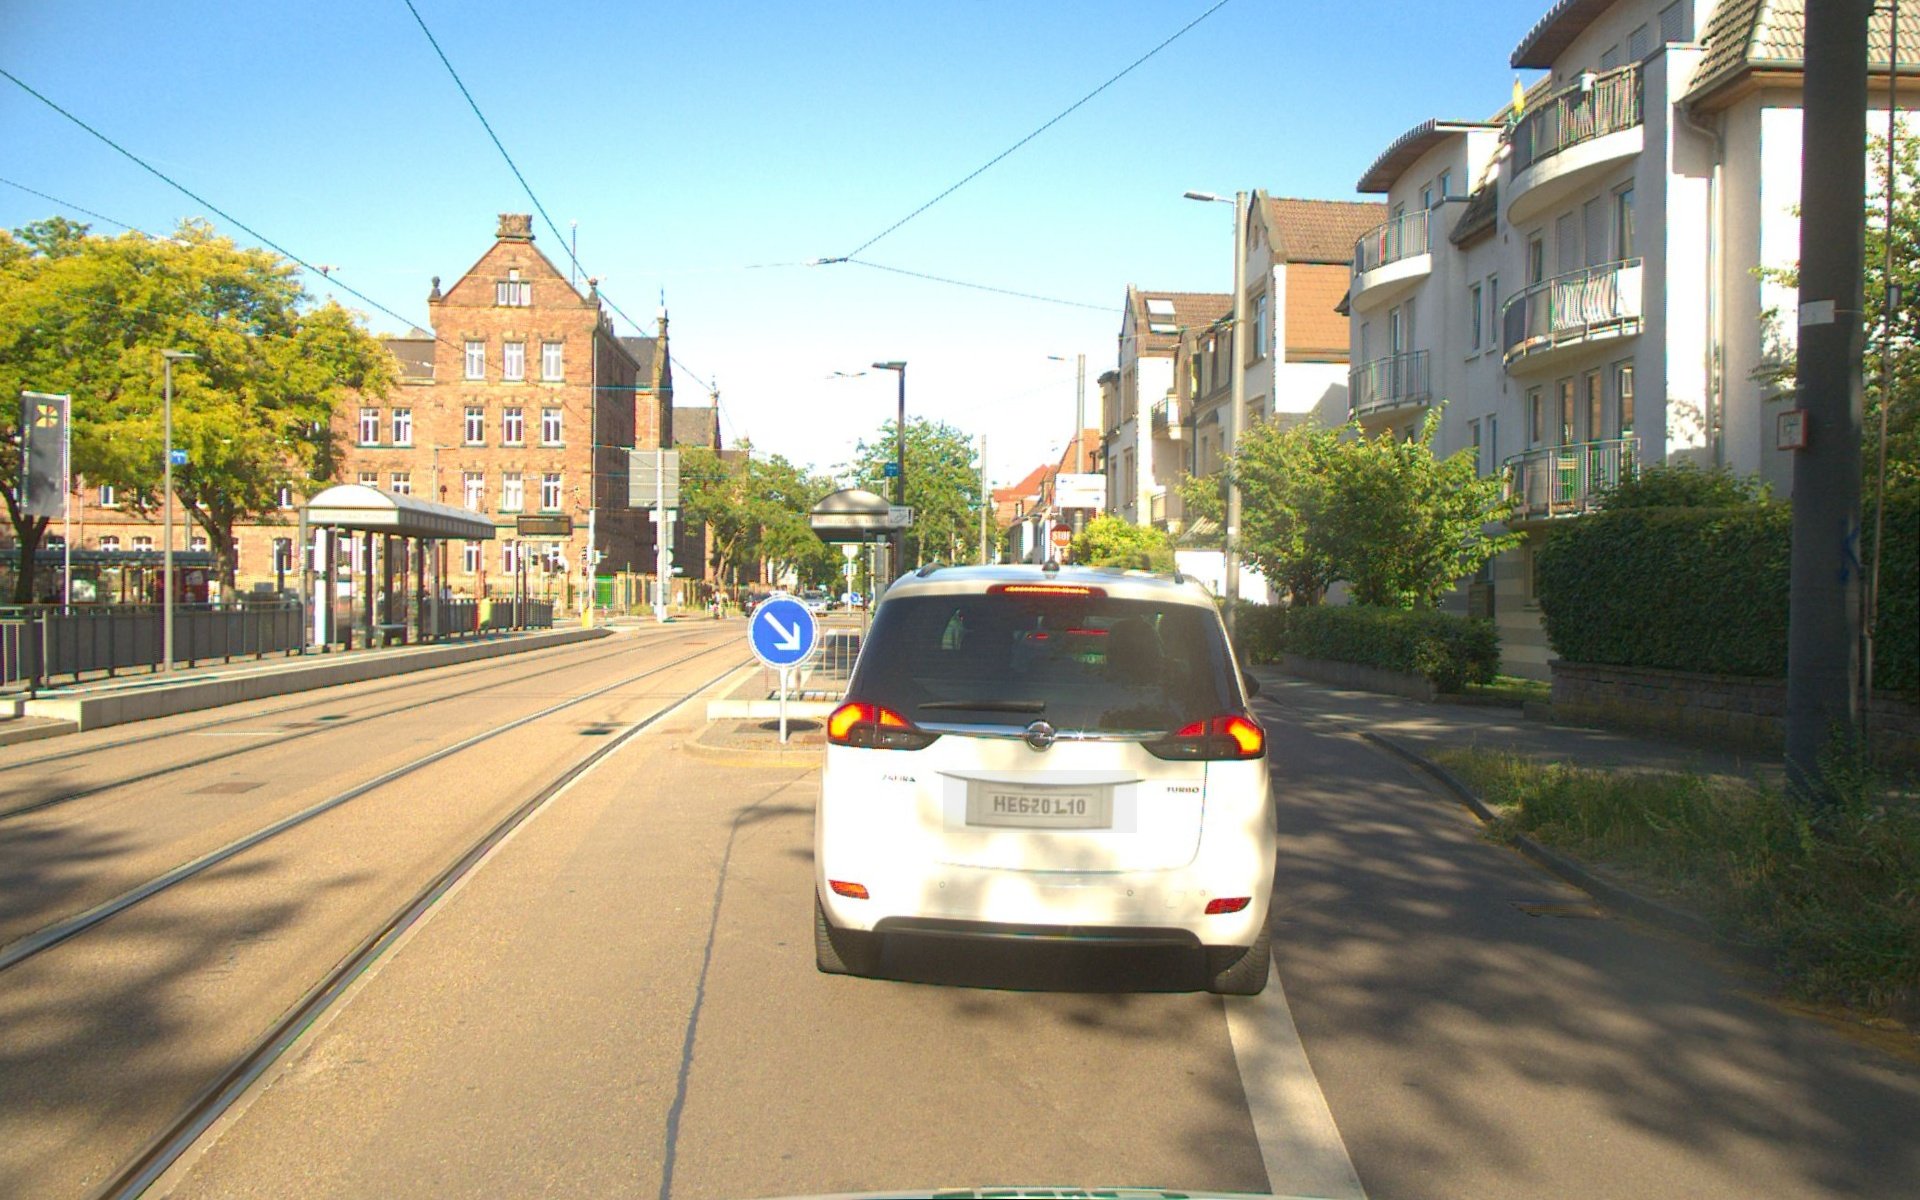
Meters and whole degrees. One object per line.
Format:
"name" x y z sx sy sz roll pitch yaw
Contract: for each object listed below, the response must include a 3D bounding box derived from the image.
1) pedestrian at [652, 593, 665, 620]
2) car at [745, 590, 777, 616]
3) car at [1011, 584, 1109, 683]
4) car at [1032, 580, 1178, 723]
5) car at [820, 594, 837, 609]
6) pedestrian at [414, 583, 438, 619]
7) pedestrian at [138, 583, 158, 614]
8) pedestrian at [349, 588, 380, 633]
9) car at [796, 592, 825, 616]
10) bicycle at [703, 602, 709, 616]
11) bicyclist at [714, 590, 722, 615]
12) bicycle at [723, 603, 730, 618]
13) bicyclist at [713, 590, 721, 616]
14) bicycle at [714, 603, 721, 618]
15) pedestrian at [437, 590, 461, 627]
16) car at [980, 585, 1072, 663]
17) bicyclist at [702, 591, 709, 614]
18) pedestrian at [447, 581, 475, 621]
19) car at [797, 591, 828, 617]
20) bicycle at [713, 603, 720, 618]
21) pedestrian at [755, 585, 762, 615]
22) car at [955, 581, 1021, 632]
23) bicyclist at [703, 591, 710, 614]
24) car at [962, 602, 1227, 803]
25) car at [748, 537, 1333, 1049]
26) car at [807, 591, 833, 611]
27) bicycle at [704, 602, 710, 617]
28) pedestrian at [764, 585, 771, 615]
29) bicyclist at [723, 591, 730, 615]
"pedestrian" -19.672 0.392 107.921 0.720 1.744 0.705 1 -1 -6
"car" -12.845 0.190 106.886 1.955 1.657 3.996 0 0 -5
"car" 1.714 0.549 29.268 1.603 1.629 3.855 0 0 1
"car" 1.739 0.584 20.840 1.603 1.629 3.855 0 0 1
"car" -14.967 0.161 188.340 1.955 1.657 3.984 0 0 -5
"pedestrian" -24.268 0.051 75.121 0.786 1.616 0.934 1 0 -3
"pedestrian" -42.462 -0.091 86.506 0.921 1.616 0.797 0 0 -27
"pedestrian" -23.526 0.418 65.334 0.825 1.721 1.029 1 0 -1
"car" -10.338 0.257 114.252 1.955 1.657 3.996 0 0 -5
"bicycle" -17.642 0.653 114.859 0.337 0.966 0.996 1 0 -4
"bicyclist" -15.563 0.178 106.323 0.435 1.580 0.495 0 0 -4
"bicycle" -15.382 0.667 108.917 0.337 0.966 0.996 1 0 -4
"bicyclist" -15.143 0.171 103.047 0.435 1.580 0.742 0 0 -4
"bicycle" -15.600 0.653 106.365 0.337 0.966 0.996 1 0 -4
"pedestrian" -22.466 0.375 72.712 0.786 1.616 0.934 1 0 -3
"car" 1.380 0.491 36.188 1.793 1.607 4.009 0 0 -1
"bicyclist" -17.636 0.177 114.823 0.435 1.580 0.495 0 0 -4
"pedestrian" -21.436 0.036 71.067 0.877 1.713 1.029 1 0 -1
"car" -9.535 0.241 107.158 1.955 1.657 3.996 0 0 -5
"bicycle" -15.152 0.646 102.839 0.337 0.966 1.159 1 0 -4
"pedestrian" -13.635 0.001 111.762 0.435 2.049 0.495 0 0 -4
"car" 0.833 0.190 51.765 1.953 1.529 3.999 0 0 -1
"bicyclist" -17.320 0.175 112.993 0.435 1.580 0.495 0 0 -4
"car" 1.028 0.746 13.982 1.912 1.422 4.001 0 0 1
"car" 0.453 0.646 7.594 1.951 1.673 3.996 1 0 6
"car" -11.871 0.100 140.472 1.953 1.657 3.998 0 0 -3
"bicycle" -17.305 0.651 113.034 0.337 0.966 0.996 1 0 -4
"pedestrian" -13.055 0.012 112.044 0.435 2.049 0.495 0 0 -4
"bicyclist" -15.371 0.193 108.911 0.435 1.580 0.495 0 0 -4
